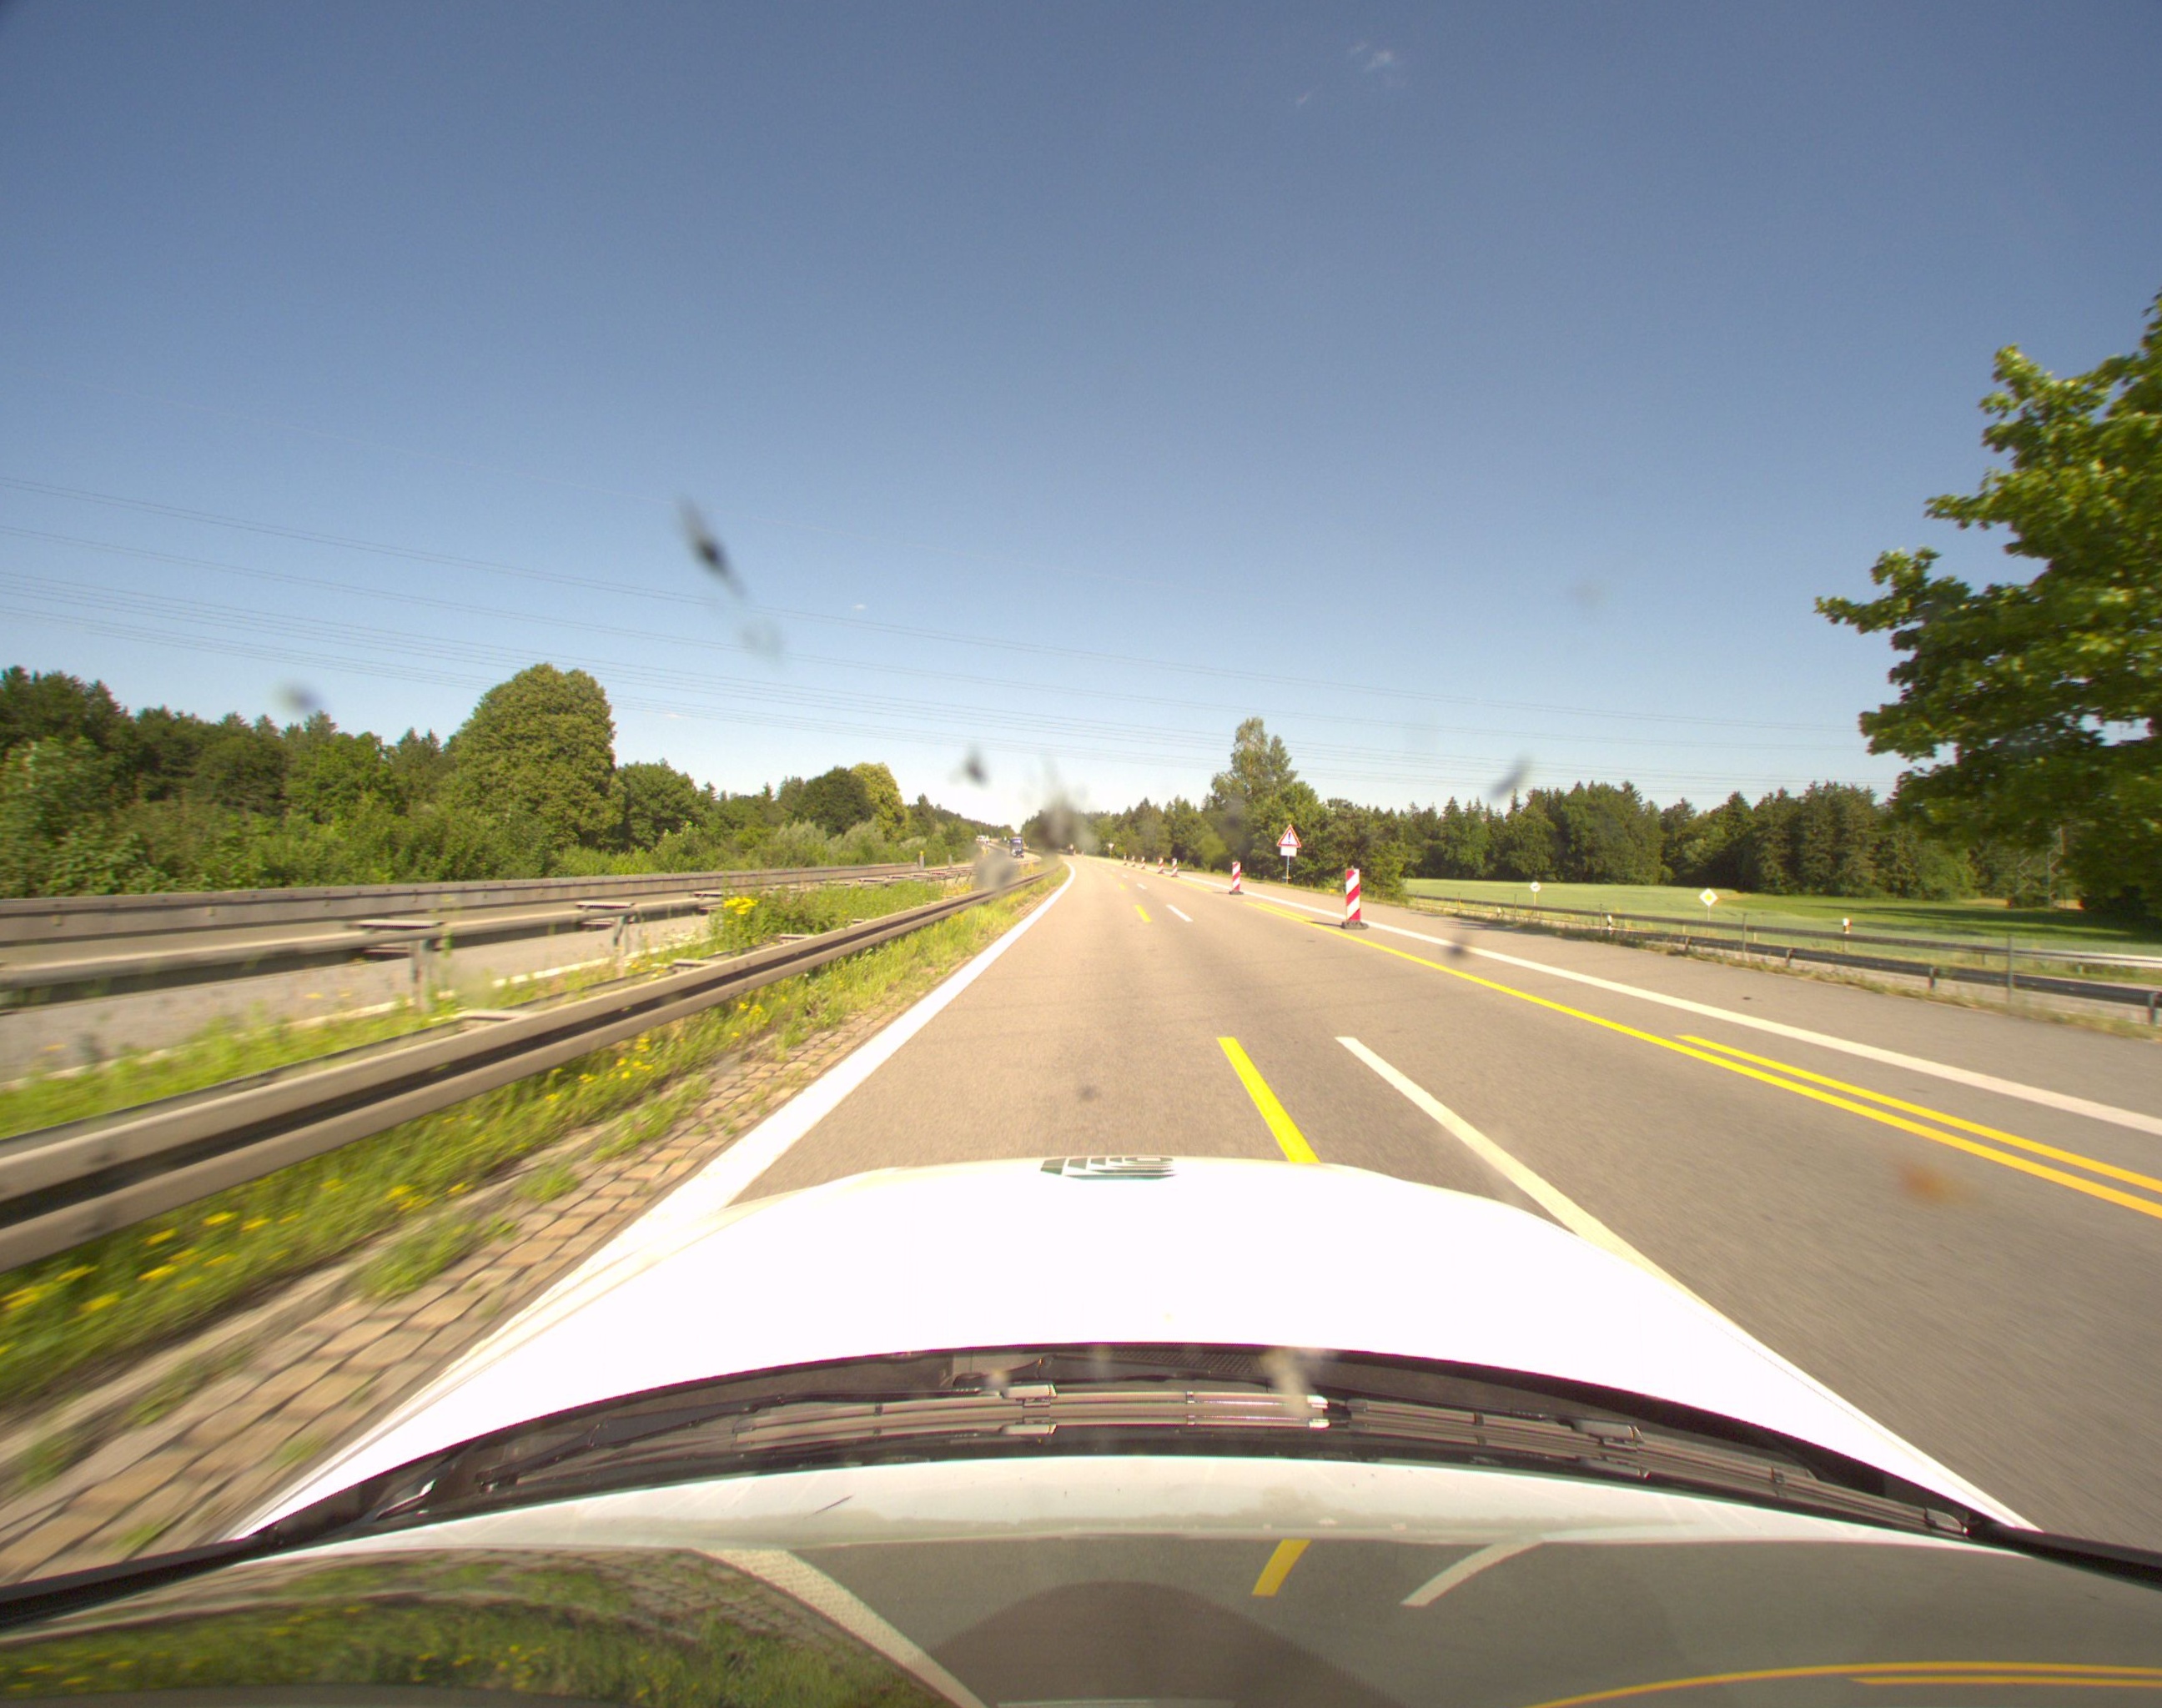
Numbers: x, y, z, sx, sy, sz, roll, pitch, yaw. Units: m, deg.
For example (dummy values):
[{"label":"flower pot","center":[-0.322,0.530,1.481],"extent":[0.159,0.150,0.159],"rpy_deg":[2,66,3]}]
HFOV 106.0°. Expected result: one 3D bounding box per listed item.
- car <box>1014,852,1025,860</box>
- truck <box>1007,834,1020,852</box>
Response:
[{"label":"car","center":[-11.430,0.409,151.860],"extent":[1.772,1.429,4.266],"rpy_deg":[-1,0,-2]},{"label":"truck","center":[-14.621,-2.345,176.997],"extent":[2.626,3.959,5.837],"rpy_deg":[0,0,-2]}]
